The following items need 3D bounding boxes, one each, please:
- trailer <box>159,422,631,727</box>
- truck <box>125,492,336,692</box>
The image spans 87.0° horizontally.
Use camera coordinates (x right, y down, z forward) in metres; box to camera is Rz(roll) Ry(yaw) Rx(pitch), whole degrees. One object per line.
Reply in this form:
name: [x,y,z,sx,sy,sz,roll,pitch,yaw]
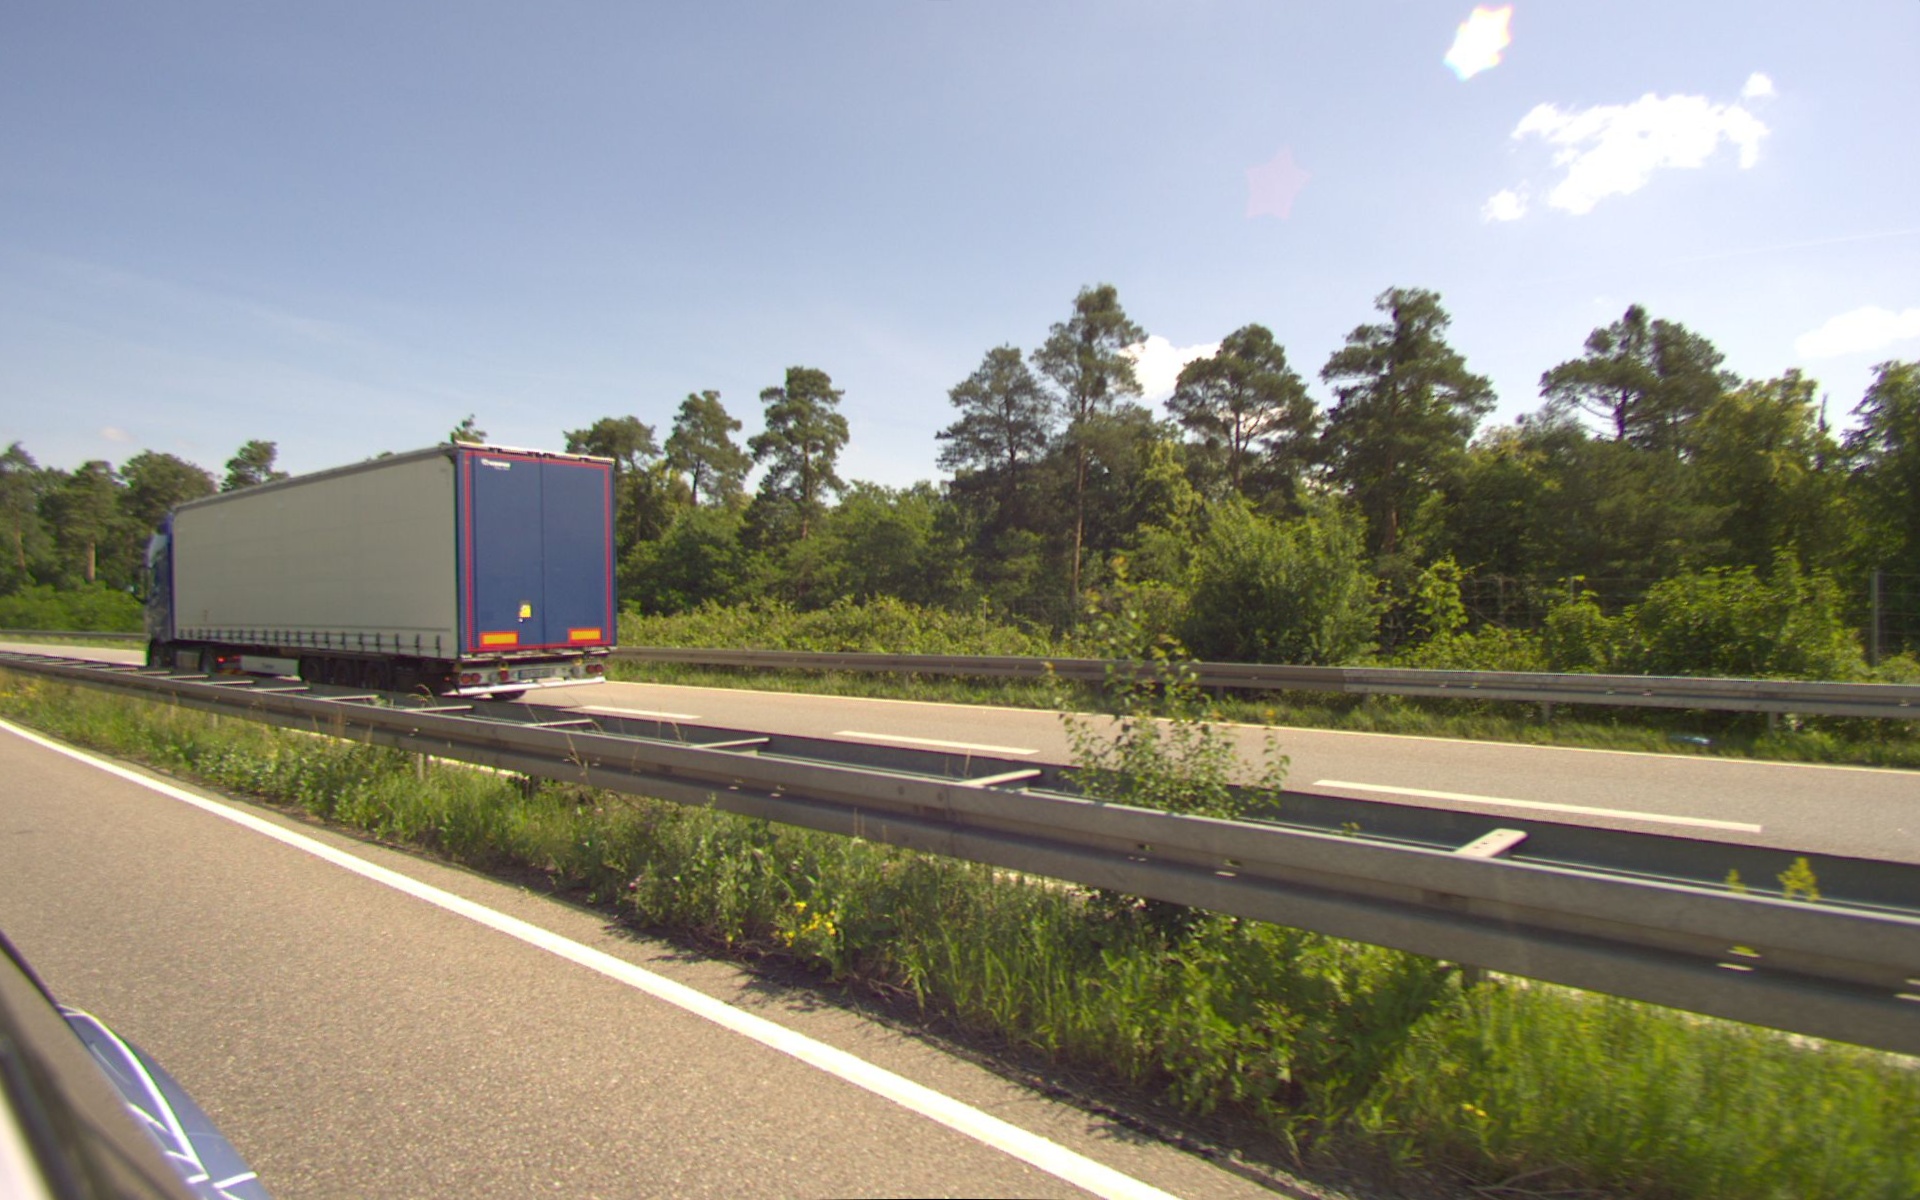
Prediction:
trailer: [-11.768,-0.239,19.613,14.565,4.204,2.719,-1,-1,39]
truck: [-17.514,-0.124,24.192,5.591,4.219,2.740,-1,-1,39]
